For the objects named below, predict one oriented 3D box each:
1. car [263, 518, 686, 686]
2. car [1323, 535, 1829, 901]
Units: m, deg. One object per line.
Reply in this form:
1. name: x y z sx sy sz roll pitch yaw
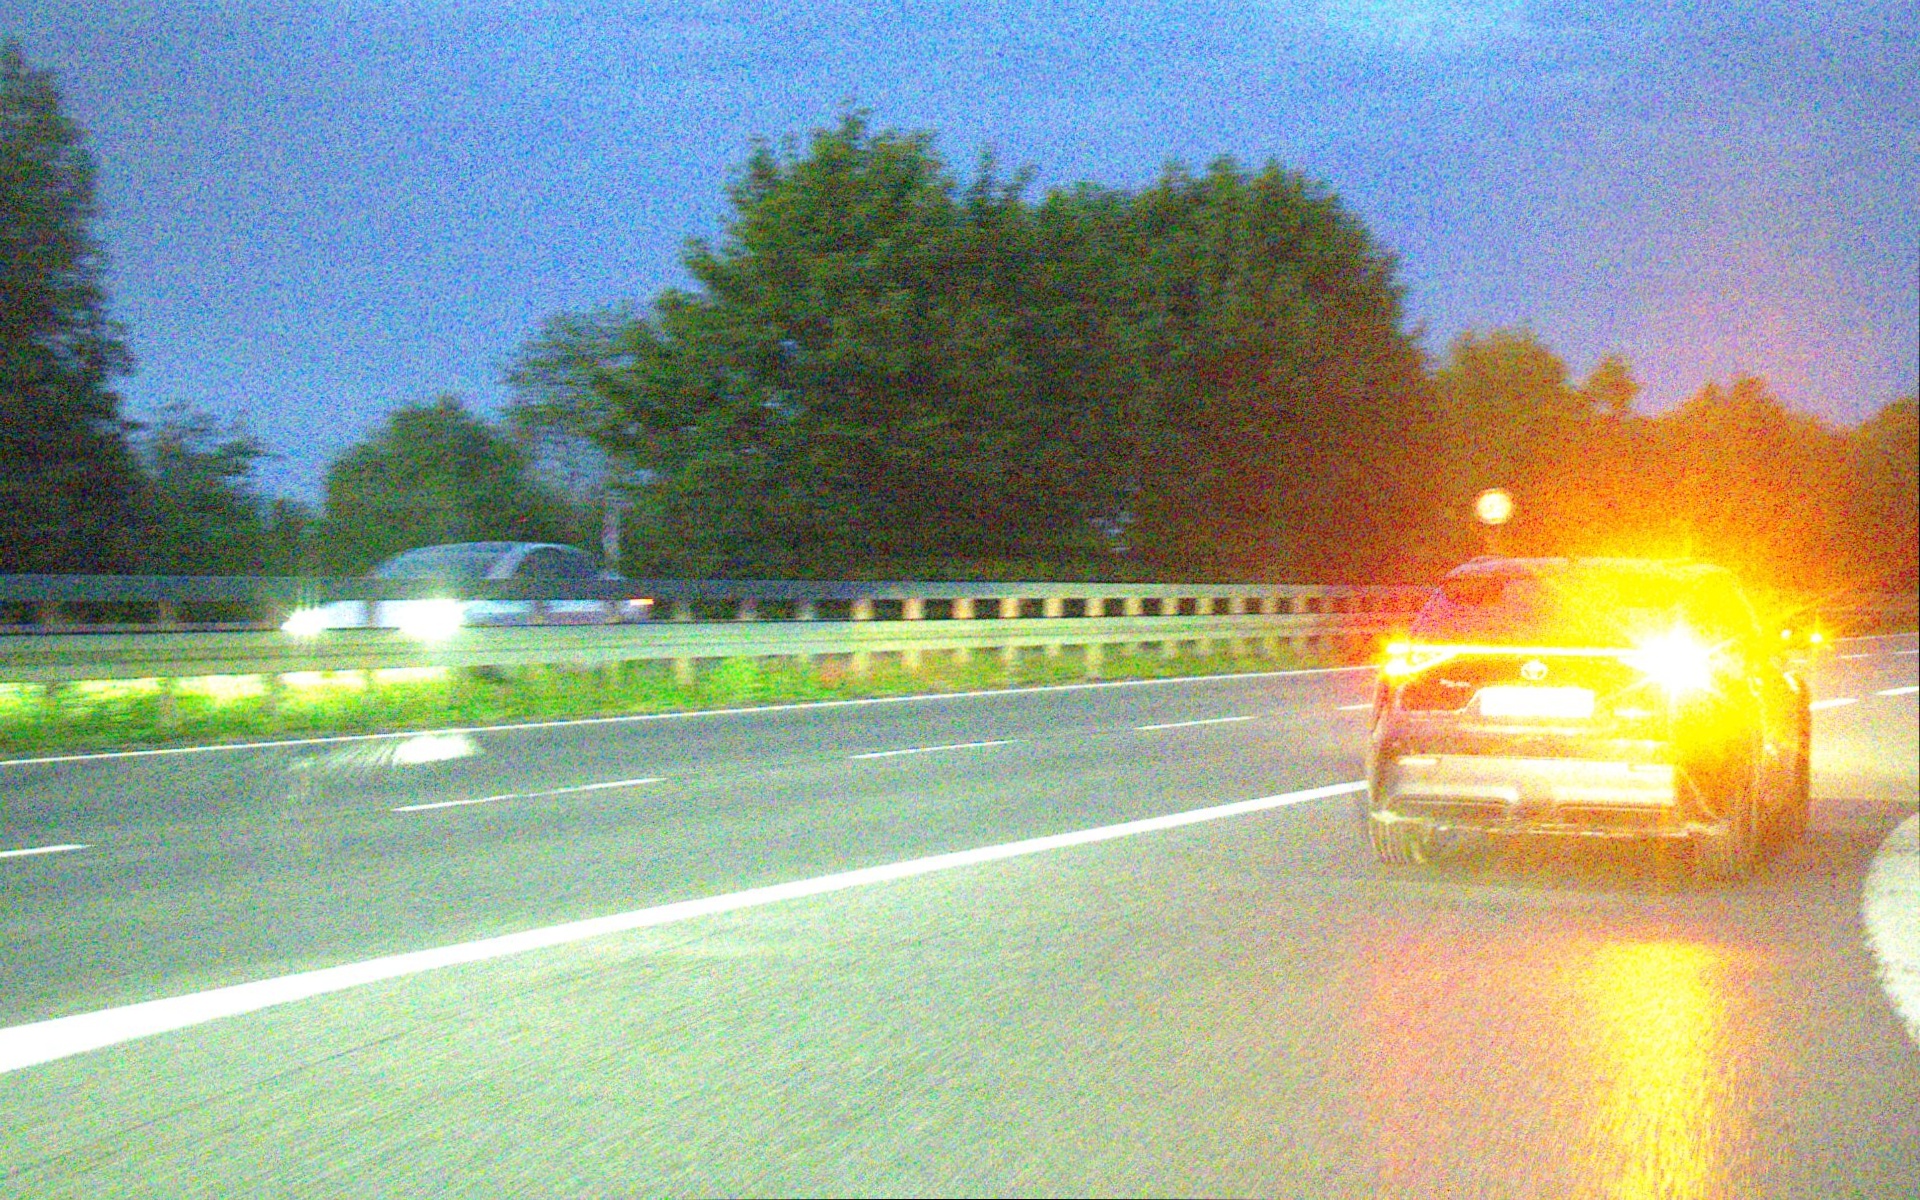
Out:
1. car: -4.779 0.010 34.624 1.996 1.564 4.816 0 0 23
2. car: 3.411 0.525 18.290 1.903 1.614 4.552 3 1 19
